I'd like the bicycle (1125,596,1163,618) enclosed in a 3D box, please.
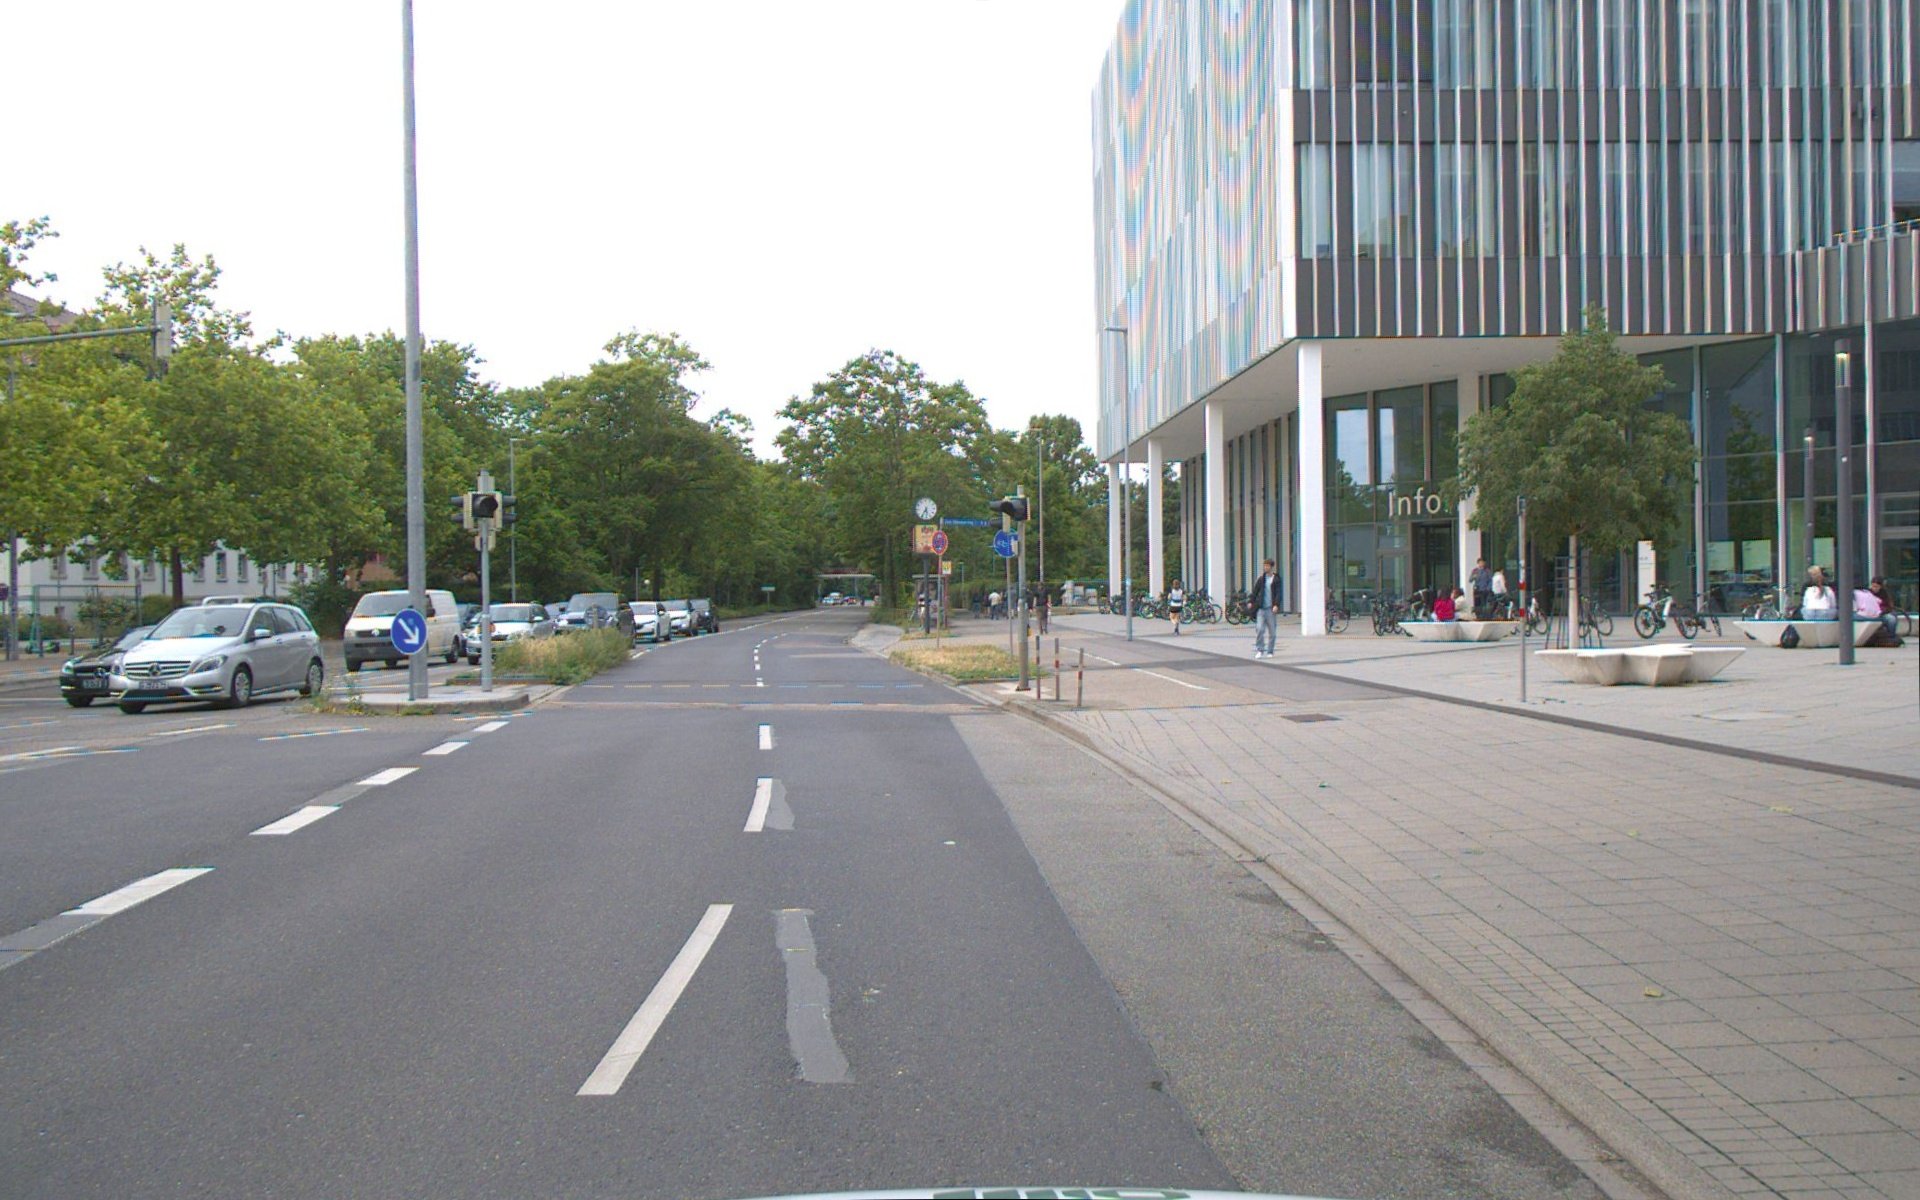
[{"bbox_3d":[8.187,0.318,73.624,1.574,0.890,0.556,-2,0,-2],"label":"bicycle"}]

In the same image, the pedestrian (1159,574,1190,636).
[{"bbox_3d":[6.653,0.154,51.269,0.825,1.868,0.894,-1,0,1],"label":"pedestrian"}]

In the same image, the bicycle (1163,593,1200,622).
[{"bbox_3d":[8.825,0.302,65.895,1.372,1.061,0.559,-3,0,-2],"label":"bicycle"}]

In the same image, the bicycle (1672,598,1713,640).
[{"bbox_3d":[16.560,0.423,37.378,0.387,0.914,1.463,-1,0,43],"label":"bicycle"}]

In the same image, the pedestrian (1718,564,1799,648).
[{"bbox_3d":[13.600,0.099,28.200,0.893,1.391,0.876,1,0,-12],"label":"pedestrian"}]

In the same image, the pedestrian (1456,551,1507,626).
[{"bbox_3d":[14.993,-0.329,47.598,1.156,2.098,1.136,1,0,4],"label":"pedestrian"}]

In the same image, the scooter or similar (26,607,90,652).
[{"bbox_3d":[-26.520,0.856,48.634,1.543,1.265,0.566,-1,0,-3],"label":"scooter or similar"}]

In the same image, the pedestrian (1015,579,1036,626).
[{"bbox_3d":[2.852,0.100,72.437,0.825,2.049,0.894,-1,0,-2],"label":"pedestrian"}]

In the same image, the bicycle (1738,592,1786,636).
[{"bbox_3d":[17.432,0.292,35.939,0.533,0.914,1.348,-1,0,43],"label":"bicycle"}]

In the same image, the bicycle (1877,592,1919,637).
[{"bbox_3d":[19.630,0.297,34.506,0.500,0.914,1.541,-1,0,43],"label":"bicycle"}]

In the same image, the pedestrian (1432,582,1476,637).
[{"bbox_3d":[11.182,0.202,37.469,0.872,1.214,0.846,-1,0,12],"label":"pedestrian"}]

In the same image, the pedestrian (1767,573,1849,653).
[{"bbox_3d":[14.006,0.207,27.337,0.890,1.279,0.879,1,0,1],"label":"pedestrian"}]

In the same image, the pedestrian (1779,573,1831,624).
[{"bbox_3d":[14.600,-0.022,28.586,0.620,0.838,0.734,-2,-1,13],"label":"pedestrian"}]

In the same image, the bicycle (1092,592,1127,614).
[{"bbox_3d":[8.102,0.155,89.443,1.759,1.100,0.625,-3,0,-4],"label":"bicycle"}]

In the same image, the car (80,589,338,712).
[{"bbox_3d":[-11.358,0.692,25.368,1.917,1.611,4.256,-2,1,0],"label":"car"}]

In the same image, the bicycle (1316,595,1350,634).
[{"bbox_3d":[10.666,0.413,47.310,0.625,1.080,1.841,1,0,2],"label":"bicycle"}]

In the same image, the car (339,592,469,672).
[{"bbox_3d":[-14.048,0.765,42.035,1.735,1.880,4.488,1,0,0],"label":"car"}]

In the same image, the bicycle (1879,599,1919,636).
[{"bbox_3d":[19.581,0.363,34.445,0.482,0.703,1.179,-1,2,43],"label":"bicycle"}]

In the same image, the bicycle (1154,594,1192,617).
[{"bbox_3d":[9.542,0.249,74.160,1.656,0.963,0.516,-1,0,4],"label":"bicycle"}]

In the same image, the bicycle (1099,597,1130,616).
[{"bbox_3d":[7.401,0.302,79.237,1.425,0.853,0.556,-2,0,-2],"label":"bicycle"}]

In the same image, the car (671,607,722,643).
[{"bbox_3d":[-12.529,1.178,78.827,1.865,1.621,4.514,-1,0,-2],"label":"car"}]

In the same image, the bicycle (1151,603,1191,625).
[{"bbox_3d":[8.844,0.581,69.349,1.574,0.890,0.556,-1,0,-2],"label":"bicycle"}]

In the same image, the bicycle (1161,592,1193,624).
[{"bbox_3d":[8.169,0.300,62.277,0.624,1.160,2.198,-4,0,-6],"label":"bicycle"}]

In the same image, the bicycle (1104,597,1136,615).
[{"bbox_3d":[8.372,0.324,86.495,1.574,0.890,0.556,-2,0,-2],"label":"bicycle"}]

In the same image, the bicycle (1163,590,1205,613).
[{"bbox_3d":[9.080,0.079,67.074,1.574,0.890,0.556,-1,0,-2],"label":"bicycle"}]

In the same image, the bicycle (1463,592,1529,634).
[{"bbox_3d":[13.593,0.317,41.940,1.945,1.019,0.762,-2,0,-44],"label":"bicycle"}]

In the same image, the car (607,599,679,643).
[{"bbox_3d":[-11.614,0.746,60.859,1.865,1.491,4.909,1,0,-2],"label":"car"}]

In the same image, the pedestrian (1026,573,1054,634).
[{"bbox_3d":[2.740,0.126,56.730,0.825,2.048,0.894,-3,0,-1],"label":"pedestrian"}]

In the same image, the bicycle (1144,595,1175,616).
[{"bbox_3d":[8.767,0.229,72.843,1.257,0.890,0.556,-2,0,-2],"label":"bicycle"}]

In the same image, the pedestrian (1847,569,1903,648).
[{"bbox_3d":[15.361,0.146,27.774,0.632,1.301,0.645,1,0,11],"label":"pedestrian"}]

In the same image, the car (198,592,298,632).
[{"bbox_3d":[-30.153,0.490,70.073,3.515,1.629,1.650,1,0,-5],"label":"car"}]

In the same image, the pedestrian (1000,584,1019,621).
[{"bbox_3d":[2.786,0.115,92.877,0.908,2.049,1.038,-1,0,-7],"label":"pedestrian"}]

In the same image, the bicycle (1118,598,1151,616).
[{"bbox_3d":[8.852,0.350,83.721,1.574,0.890,0.556,-2,0,-2],"label":"bicycle"}]

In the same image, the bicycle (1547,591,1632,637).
[{"bbox_3d":[15.114,0.329,39.711,2.164,1.023,0.773,-1,0,-33],"label":"bicycle"}]

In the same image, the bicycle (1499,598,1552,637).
[{"bbox_3d":[14.113,0.434,41.247,0.659,0.914,1.837,-1,0,39],"label":"bicycle"}]

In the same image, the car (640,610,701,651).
[{"bbox_3d":[-12.187,1.258,69.879,1.954,1.574,4.178,-2,0,-2],"label":"car"}]

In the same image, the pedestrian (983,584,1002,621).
[{"bbox_3d":[1.843,0.149,92.985,0.908,2.049,1.038,-1,0,-7],"label":"pedestrian"}]

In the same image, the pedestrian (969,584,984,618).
[{"bbox_3d":[1.050,0.071,102.680,0.808,2.049,0.719,-1,0,-7],"label":"pedestrian"}]

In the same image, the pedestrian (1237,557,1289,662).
[{"bbox_3d":[6.029,0.191,32.893,0.825,2.049,0.894,-1,0,-1],"label":"pedestrian"}]

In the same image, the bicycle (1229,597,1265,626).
[{"bbox_3d":[10.021,0.400,57.727,1.476,0.945,0.434,-2,2,-42],"label":"bicycle"}]

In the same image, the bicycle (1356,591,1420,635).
[{"bbox_3d":[11.716,0.350,45.236,0.724,1.135,2.168,-1,0,44],"label":"bicycle"}]

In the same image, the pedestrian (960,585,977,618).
[{"bbox_3d":[0.513,0.087,102.502,0.908,2.049,1.038,-1,0,-7],"label":"pedestrian"}]

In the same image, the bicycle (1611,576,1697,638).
[{"bbox_3d":[16.134,0.141,38.436,1.976,1.328,0.641,-3,2,-24],"label":"bicycle"}]

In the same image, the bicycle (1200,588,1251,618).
[{"bbox_3d":[10.952,0.124,68.219,1.950,1.164,0.645,-3,0,39],"label":"bicycle"}]

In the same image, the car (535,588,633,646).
[{"bbox_3d":[-11.792,0.495,52.212,1.953,1.716,4.948,0,0,0],"label":"car"}]

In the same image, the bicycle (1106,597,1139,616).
[{"bbox_3d":[8.436,0.327,85.911,1.574,0.890,0.556,-2,0,-2],"label":"bicycle"}]

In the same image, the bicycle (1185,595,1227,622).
[{"bbox_3d":[9.668,0.326,65.014,1.572,0.952,0.569,-4,1,8],"label":"bicycle"}]

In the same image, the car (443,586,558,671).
[{"bbox_3d":[-11.784,0.700,42.663,1.953,2.049,3.998,-1,0,-2],"label":"car"}]

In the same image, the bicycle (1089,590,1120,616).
[{"bbox_3d":[7.967,0.171,91.216,1.612,1.356,0.463,-3,0,11],"label":"bicycle"}]

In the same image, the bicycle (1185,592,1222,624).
[{"bbox_3d":[8.758,0.297,59.495,0.597,1.098,1.956,-3,0,-13],"label":"bicycle"}]

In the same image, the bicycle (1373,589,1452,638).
[{"bbox_3d":[11.998,0.350,43.815,2.700,1.208,0.762,-2,0,-45],"label":"bicycle"}]

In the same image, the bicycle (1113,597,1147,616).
[{"bbox_3d":[8.035,0.309,78.026,1.501,0.848,0.556,-2,0,-2],"label":"bicycle"}]

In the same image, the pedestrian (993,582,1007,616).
[{"bbox_3d":[2.491,-0.074,102.813,0.807,2.049,0.720,-2,0,-3],"label":"pedestrian"}]

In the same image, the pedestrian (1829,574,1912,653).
[{"bbox_3d":[15.135,0.223,27.505,0.890,1.279,0.879,1,0,1],"label":"pedestrian"}]

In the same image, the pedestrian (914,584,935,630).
[{"bbox_3d":[-1.682,0.321,77.873,0.894,2.048,0.853,-3,2,-3],"label":"pedestrian"}]

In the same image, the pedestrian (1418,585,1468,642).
[{"bbox_3d":[10.766,0.299,36.854,0.827,1.227,0.892,-1,0,32],"label":"pedestrian"}]
